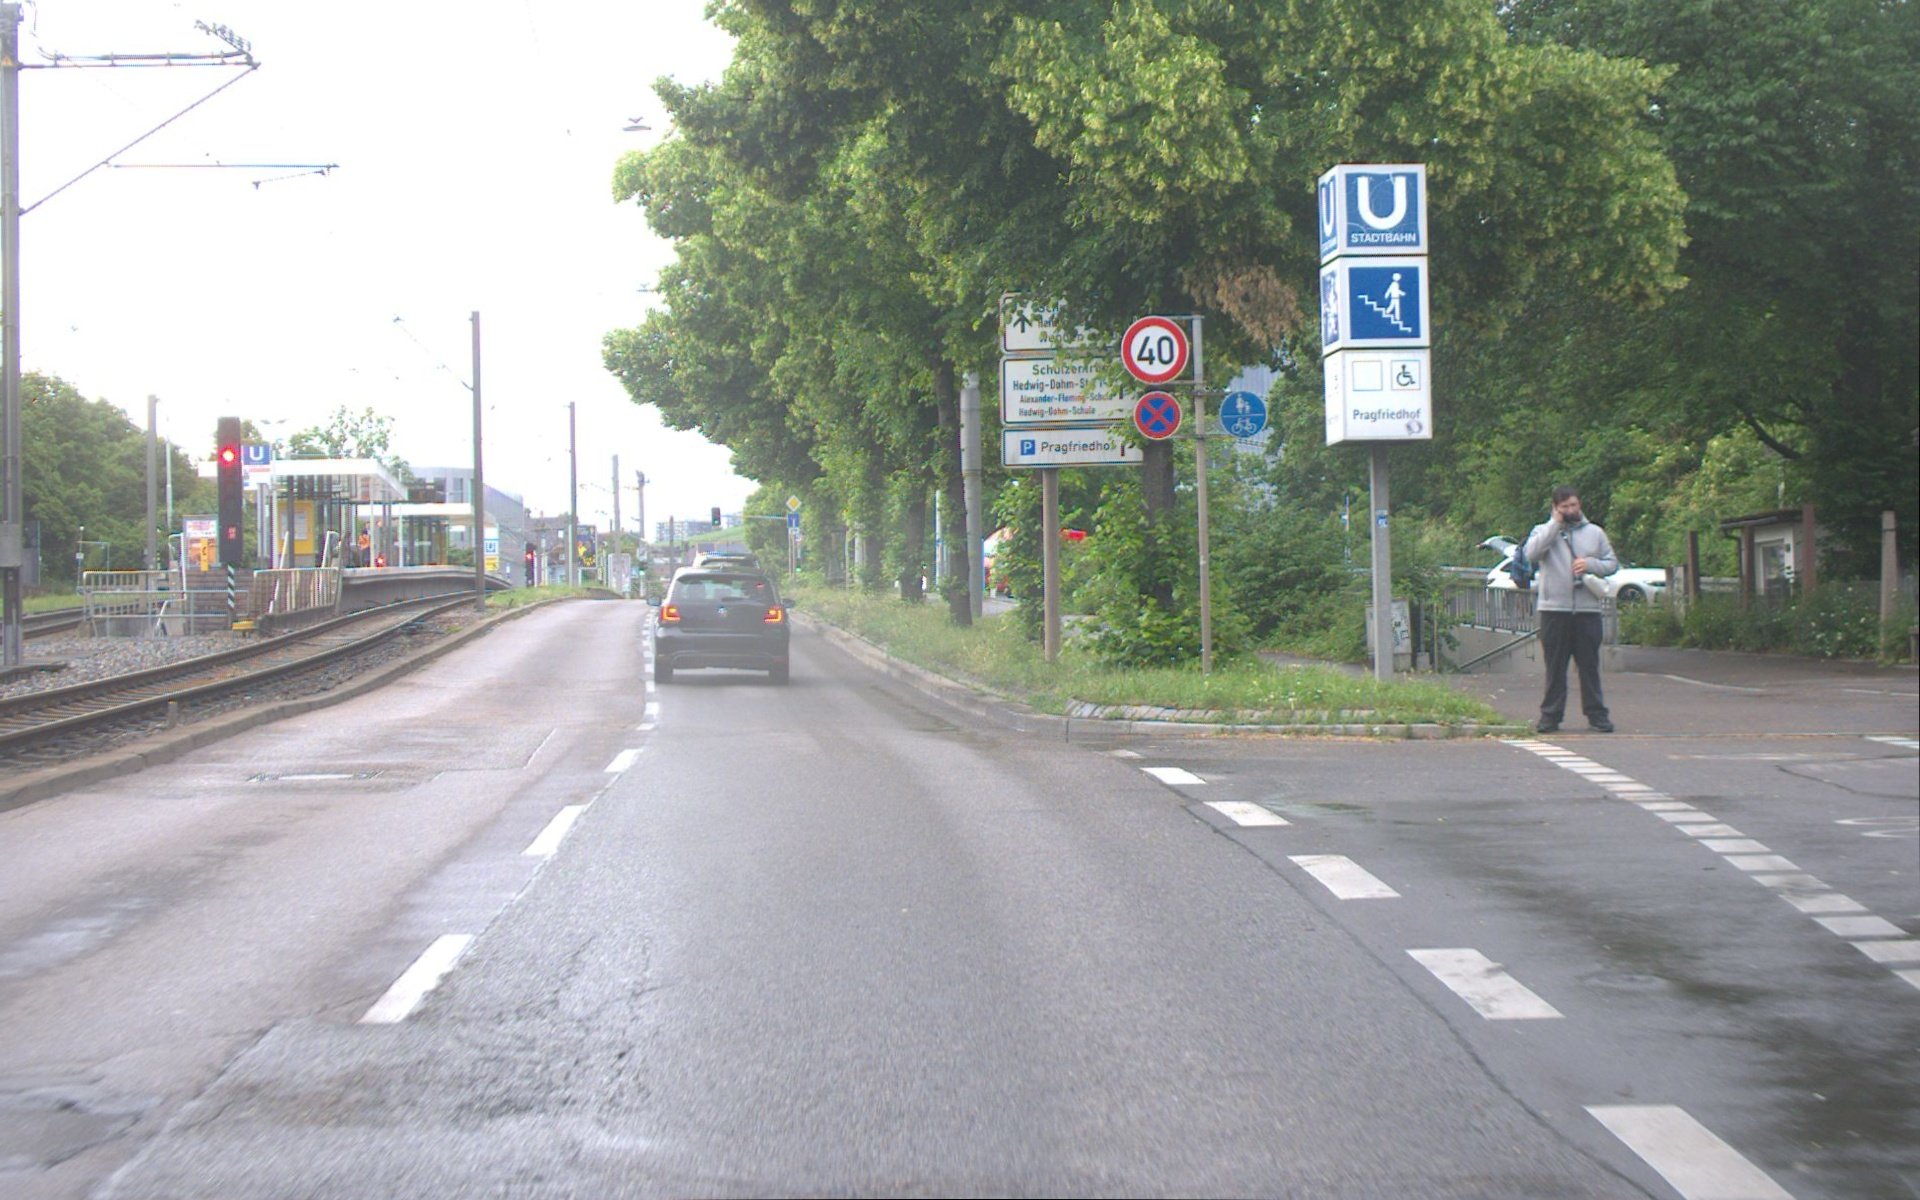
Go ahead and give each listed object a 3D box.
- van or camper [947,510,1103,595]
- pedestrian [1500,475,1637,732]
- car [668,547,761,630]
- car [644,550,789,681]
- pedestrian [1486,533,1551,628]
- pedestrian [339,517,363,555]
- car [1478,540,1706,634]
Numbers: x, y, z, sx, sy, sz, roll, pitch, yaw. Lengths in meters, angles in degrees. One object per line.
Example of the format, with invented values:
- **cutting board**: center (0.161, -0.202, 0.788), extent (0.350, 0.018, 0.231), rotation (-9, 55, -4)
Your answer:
- **van or camper**: center (2.133, -1.520, 111.037), extent (2.039, 2.398, 5.379), rotation (4, 1, 39)
- **pedestrian**: center (4.450, 0.020, 25.183), extent (0.855, 1.847, 0.737), rotation (0, 1, -1)
- **car**: center (-4.644, -0.241, 65.002), extent (1.687, 1.512, 4.001), rotation (0, 1, -4)
- **car**: center (-3.047, 0.154, 43.092), extent (1.726, 1.535, 4.001), rotation (0, 1, -4)
- **pedestrian**: center (11.926, -0.425, 73.419), extent (0.960, 2.007, 0.951), rotation (0, 1, -28)
- **pedestrian**: center (-19.724, -2.085, 111.361), extent (0.710, 1.221, 0.619), rotation (0, 0, -4)
- **car**: center (13.596, -0.288, 74.124), extent (1.941, 1.828, 4.465), rotation (1, 1, -45)
